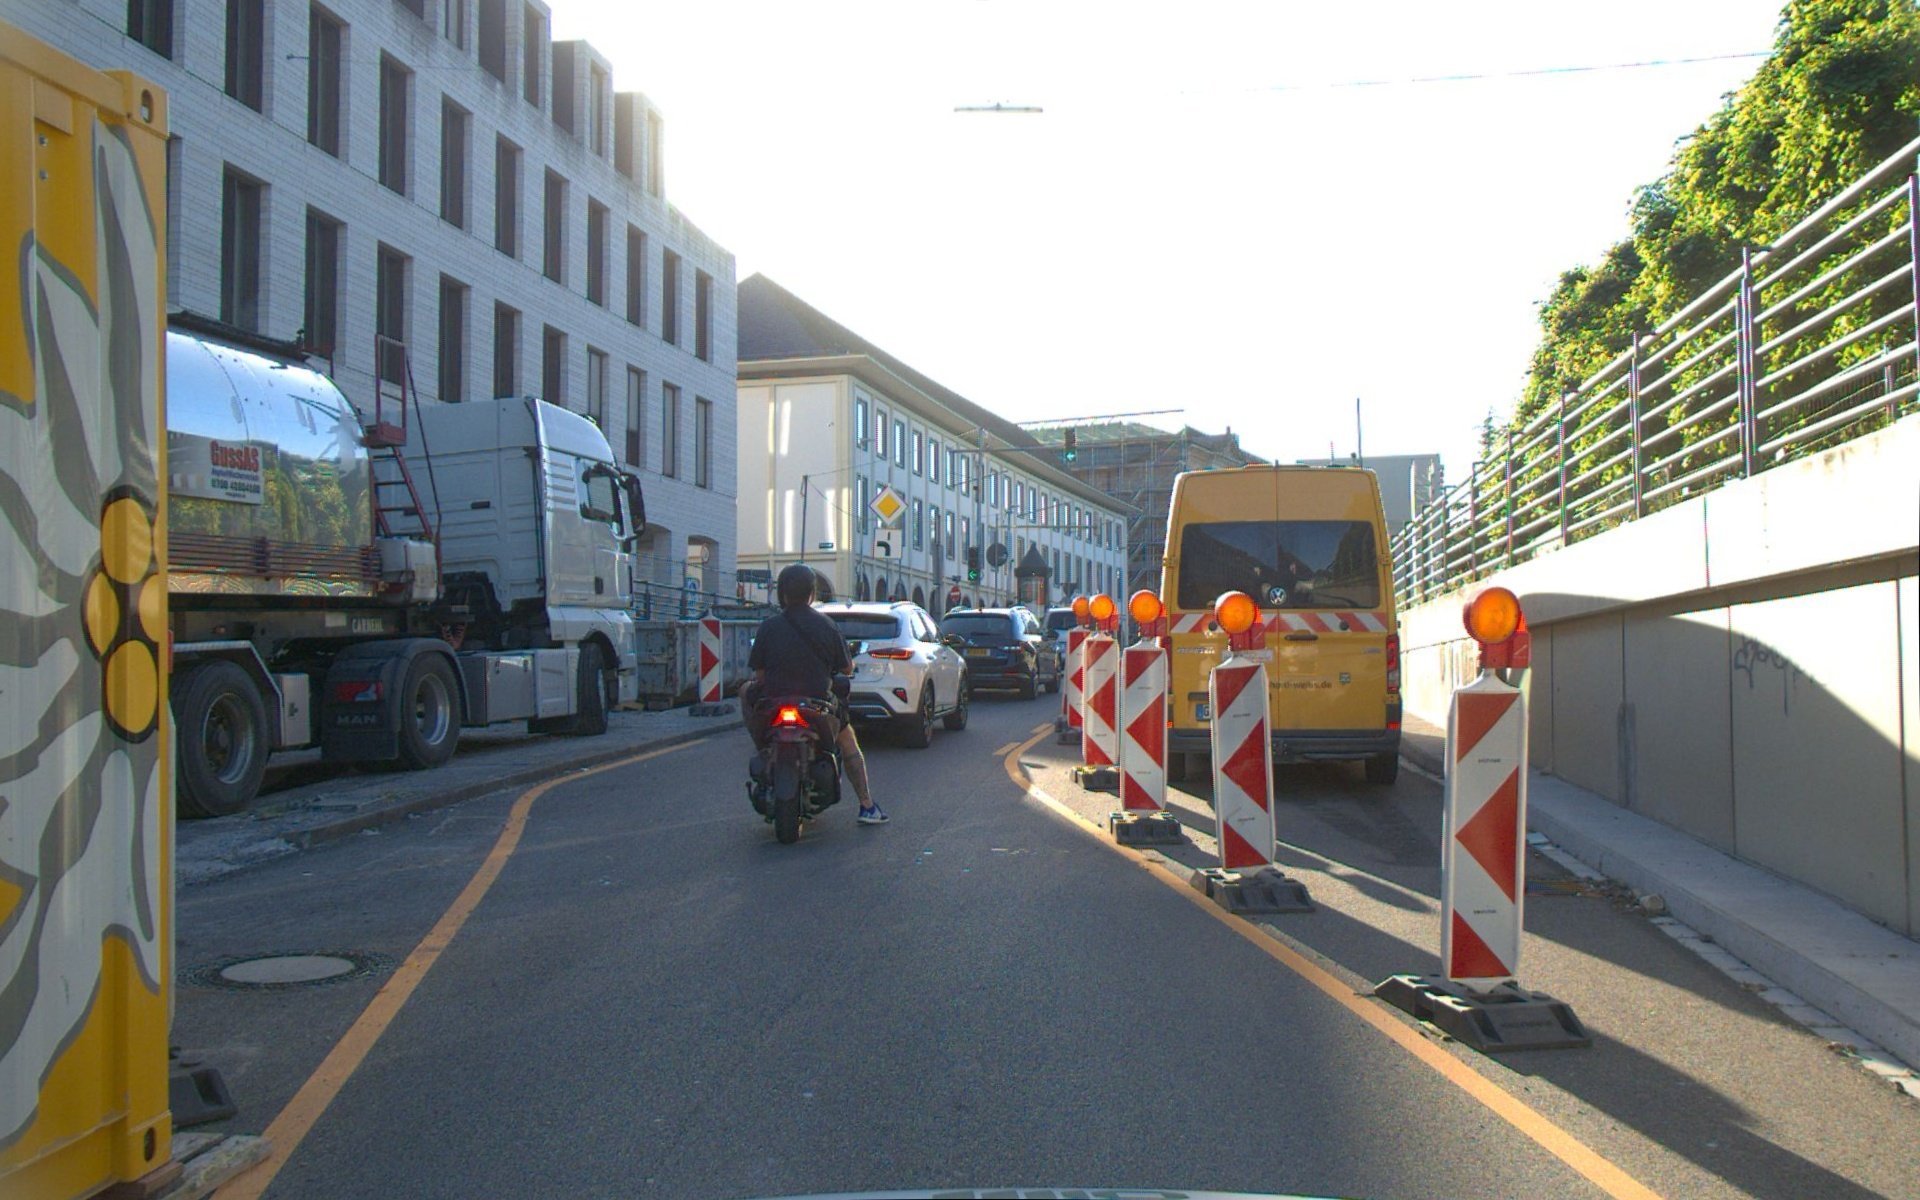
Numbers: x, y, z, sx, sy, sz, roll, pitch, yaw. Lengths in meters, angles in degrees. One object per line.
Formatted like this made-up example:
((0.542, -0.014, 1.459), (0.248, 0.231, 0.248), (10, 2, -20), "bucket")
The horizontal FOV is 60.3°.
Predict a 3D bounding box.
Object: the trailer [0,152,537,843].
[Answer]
((-6.051, -0.470, 11.781), (2.586, 3.732, 8.755), (-5, -1, 7), "trailer")

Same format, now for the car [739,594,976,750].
((-0.997, 0.719, 18.242), (1.819, 1.498, 4.003), (1, 0, 8), "car")

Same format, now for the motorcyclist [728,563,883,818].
((-0.990, 0.561, 10.933), (0.934, 1.587, 1.238), (0, 0, -2), "motorcyclist")

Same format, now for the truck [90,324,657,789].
((-5.323, -0.321, 16.282), (2.525, 3.550, 5.820), (-5, -1, 9), "truck")

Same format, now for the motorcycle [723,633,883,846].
((-0.982, 0.847, 11.029), (0.887, 1.204, 2.578), (0, 0, -2), "motorcycle")

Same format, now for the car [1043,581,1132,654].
((3.290, 0.420, 42.022), (1.765, 1.751, 4.166), (0, 0, 11), "car")

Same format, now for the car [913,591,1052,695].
((0.453, 0.737, 27.405), (1.736, 1.578, 4.109), (-1, -2, 9), "car")

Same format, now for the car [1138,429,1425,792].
((2.929, 0.116, 15.780), (2.067, 2.671, 6.992), (-1, -1, 9), "car")
